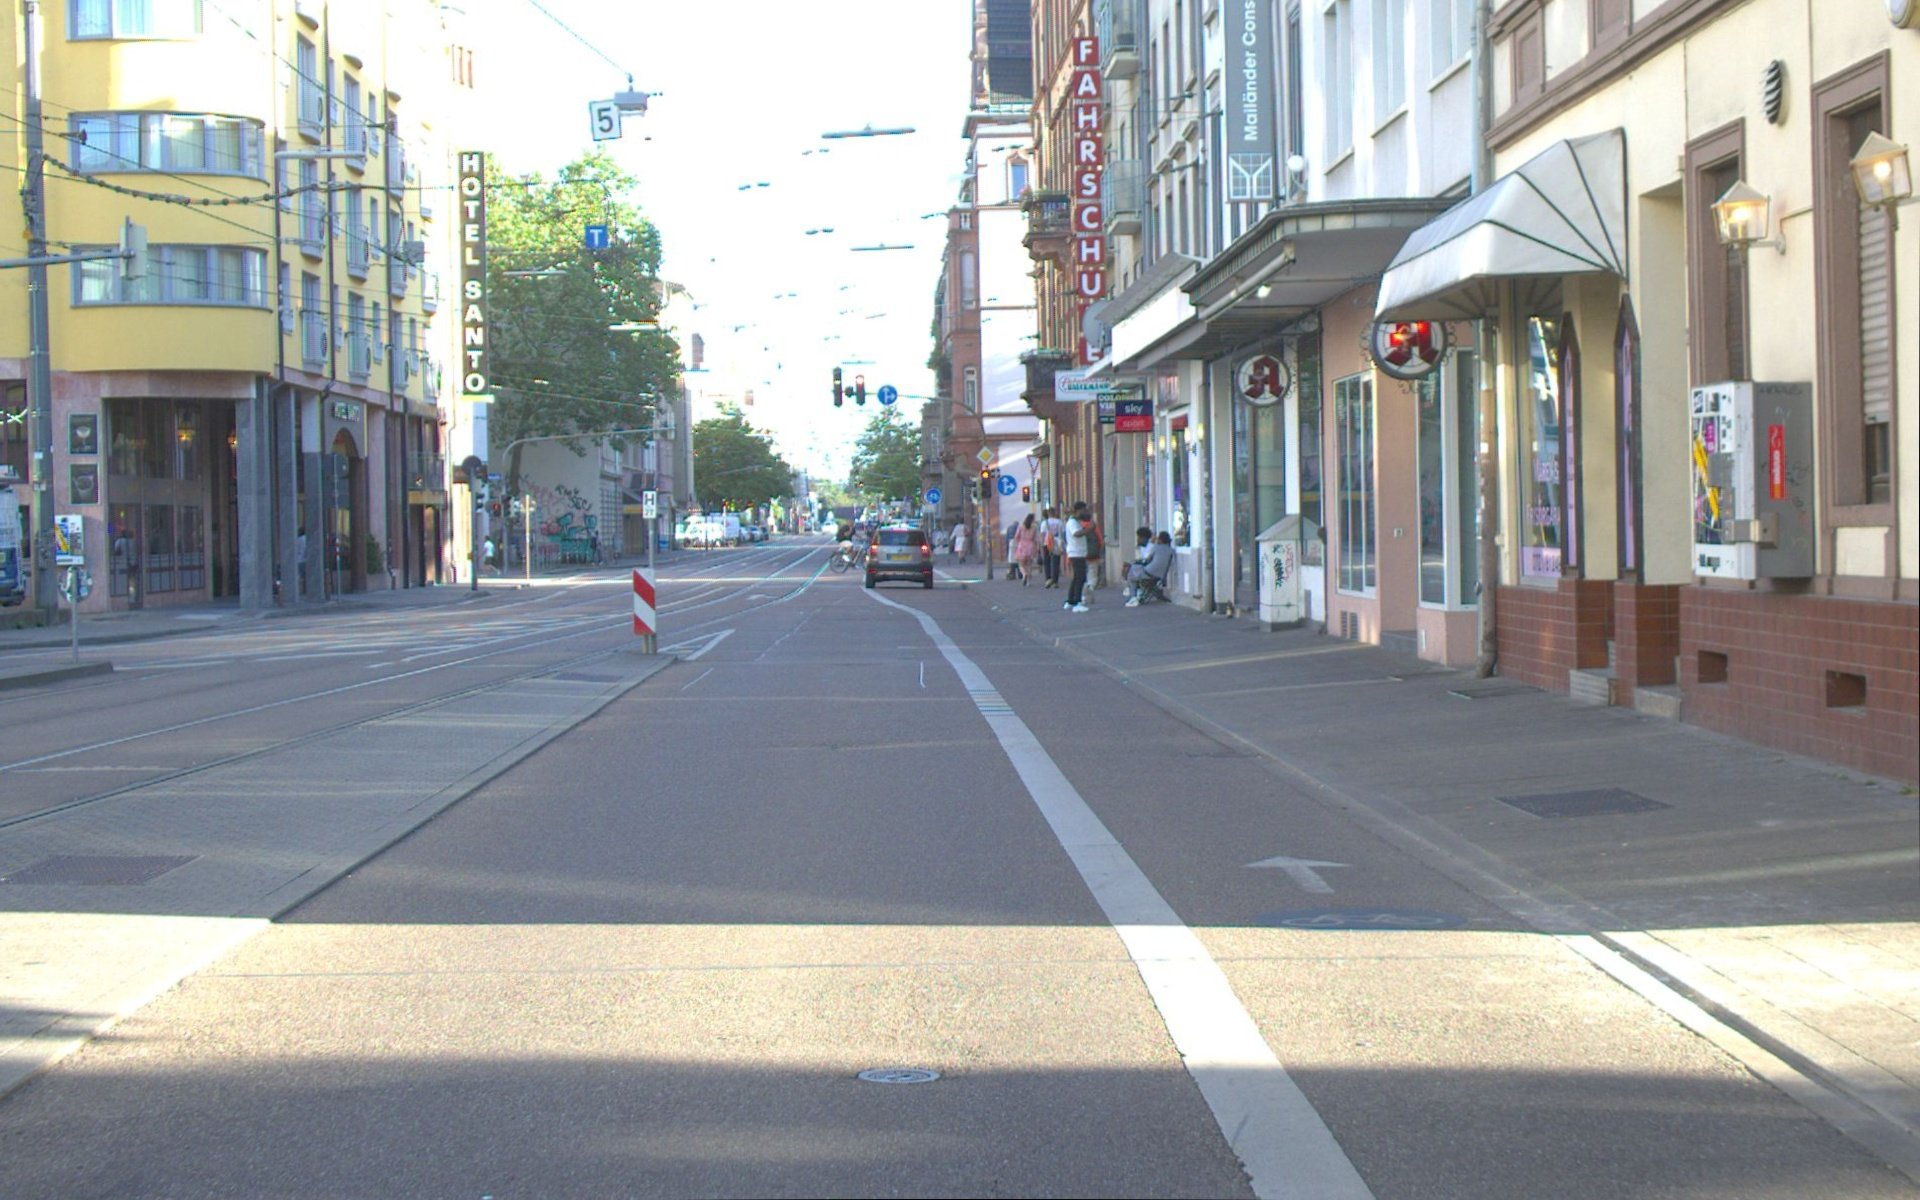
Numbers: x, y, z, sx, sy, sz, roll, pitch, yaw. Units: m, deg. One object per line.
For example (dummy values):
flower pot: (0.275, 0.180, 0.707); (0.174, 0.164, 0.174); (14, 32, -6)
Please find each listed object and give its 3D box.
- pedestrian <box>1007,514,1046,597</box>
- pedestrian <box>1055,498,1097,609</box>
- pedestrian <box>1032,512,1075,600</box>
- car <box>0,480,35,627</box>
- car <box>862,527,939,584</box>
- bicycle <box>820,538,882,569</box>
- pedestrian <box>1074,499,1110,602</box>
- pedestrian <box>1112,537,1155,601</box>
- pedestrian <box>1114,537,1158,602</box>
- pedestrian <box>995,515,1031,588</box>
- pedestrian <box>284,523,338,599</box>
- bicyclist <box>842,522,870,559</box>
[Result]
pedestrian: (1.558, -1.039, 80.493); (0.843, 1.911, 0.662); (-1, 1, -3)
pedestrian: (1.897, -0.756, 56.150); (0.648, 1.790, 0.561); (-1, 1, 3)
pedestrian: (2.061, -0.983, 75.929); (0.848, 1.911, 1.035); (-1, 1, -3)
car: (-19.200, -0.814, 60.794); (5.105, 2.567, 2.128); (0, 1, 0)
car: (-1.610, -1.197, 91.311); (1.993, 1.444, 4.000); (0, 1, -2)
bicycle: (-3.643, -1.558, 114.862); (1.935, 1.000, 0.753); (-1, 1, 17)
pedestrian: (2.324, -0.875, 60.512); (0.560, 1.790, 0.650); (-1, 1, 5)
pedestrian: (2.856, -0.510, 56.694); (0.690, 1.040, 0.680); (-1, 1, 3)
pedestrian: (2.862, -0.502, 55.930); (0.690, 1.040, 0.680); (-1, 1, 3)
pedestrian: (1.397, -1.279, 90.475); (0.843, 1.911, 0.847); (-1, 1, -3)
pedestrian: (-15.612, -0.936, 82.746); (0.908, 1.808, 1.152); (0, 1, 10)
bicyclist: (-3.474, -1.981, 114.803); (0.710, 1.216, 0.753); (-1, 1, 17)
